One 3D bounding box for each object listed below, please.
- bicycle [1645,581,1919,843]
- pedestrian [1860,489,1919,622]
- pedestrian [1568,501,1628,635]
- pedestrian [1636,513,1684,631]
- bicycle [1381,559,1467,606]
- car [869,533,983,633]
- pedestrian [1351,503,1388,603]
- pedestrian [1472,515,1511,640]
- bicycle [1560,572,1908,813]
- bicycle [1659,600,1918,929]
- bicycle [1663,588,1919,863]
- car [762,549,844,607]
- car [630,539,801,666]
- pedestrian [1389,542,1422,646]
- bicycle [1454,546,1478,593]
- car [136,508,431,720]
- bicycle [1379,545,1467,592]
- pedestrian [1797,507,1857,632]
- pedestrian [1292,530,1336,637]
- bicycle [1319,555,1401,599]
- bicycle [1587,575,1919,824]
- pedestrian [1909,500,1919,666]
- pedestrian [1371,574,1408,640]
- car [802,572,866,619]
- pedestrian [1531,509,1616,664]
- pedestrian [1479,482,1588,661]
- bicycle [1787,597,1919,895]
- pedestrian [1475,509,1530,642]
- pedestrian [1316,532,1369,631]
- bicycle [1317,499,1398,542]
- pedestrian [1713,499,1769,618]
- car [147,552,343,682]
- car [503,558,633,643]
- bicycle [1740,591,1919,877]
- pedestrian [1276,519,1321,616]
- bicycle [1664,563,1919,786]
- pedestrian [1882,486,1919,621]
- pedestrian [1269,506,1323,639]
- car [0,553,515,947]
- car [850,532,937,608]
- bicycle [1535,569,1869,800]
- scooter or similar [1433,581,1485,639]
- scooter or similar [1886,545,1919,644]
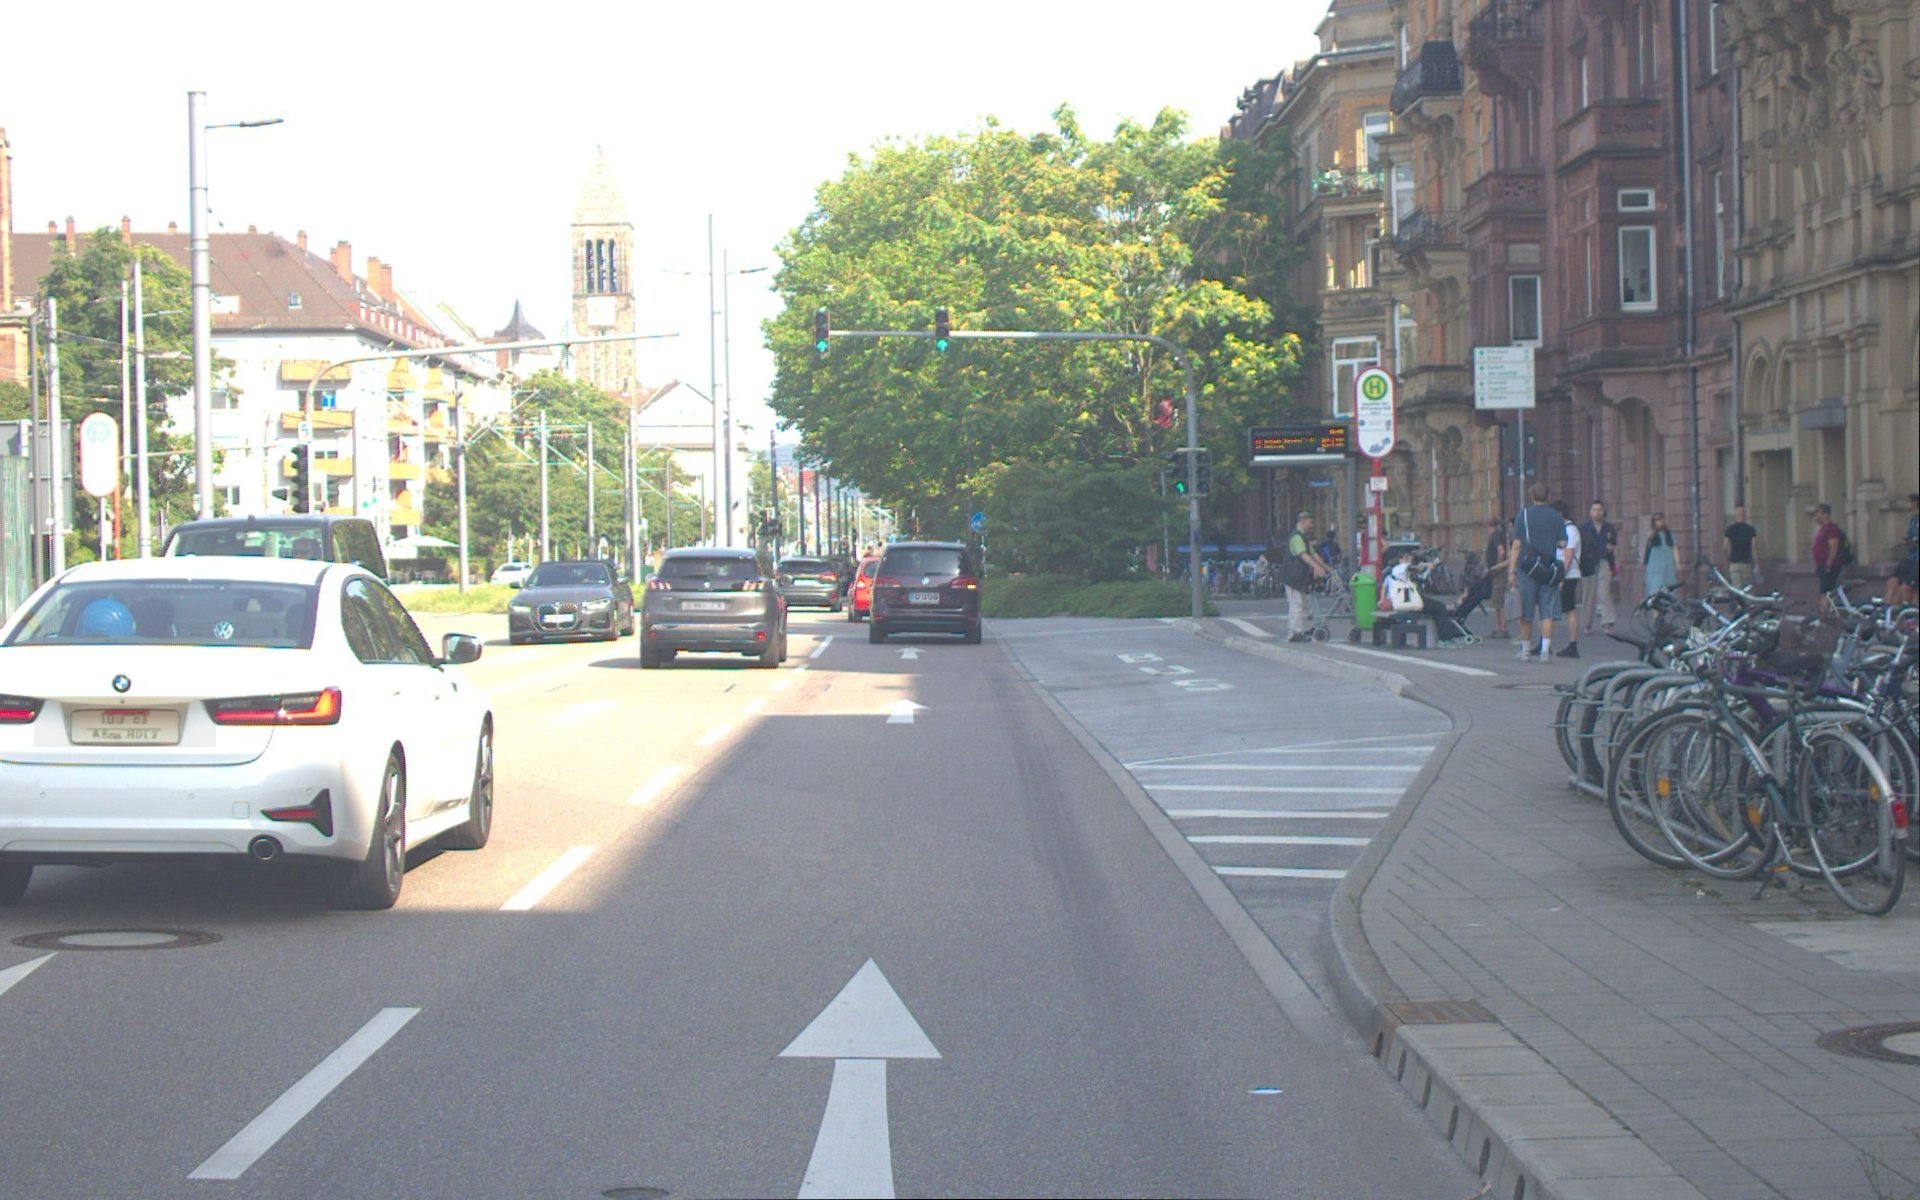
[{"bbox_3d":[3.994,0.498,15.700,1.632,1.144,0.385,-1,1,-5],"label":"bicycle"},{"bbox_3d":[11.955,-0.574,44.144,0.603,1.686,0.587,-1,1,-3],"label":"pedestrian"},{"bbox_3d":[8.757,-0.444,47.212,0.617,1.798,1.071,-1,1,1],"label":"pedestrian"},{"bbox_3d":[9.639,-0.392,47.345,0.486,1.605,0.813,-1,1,1],"label":"pedestrian"},{"bbox_3d":[10.838,-0.406,80.312,1.927,1.044,0.500,-1,1,-6],"label":"bicycle"},{"bbox_3d":[-0.551,-0.317,57.570,1.831,1.615,4.357,0,1,0],"label":"car"},{"bbox_3d":[7.033,-0.806,59.034,0.481,1.696,0.703,-1,1,-3],"label":"pedestrian"},{"bbox_3d":[7.437,-0.323,48.137,0.341,1.726,0.806,-1,1,-4],"label":"pedestrian"},{"bbox_3d":[3.859,0.453,17.165,1.632,1.144,0.385,-1,1,-5],"label":"bicycle"},{"bbox_3d":[3.134,0.588,13.130,0.407,1.144,1.656,-1,1,-6],"label":"bicycle"},{"bbox_3d":[3.925,0.528,14.953,1.632,1.144,0.385,-1,1,-5],"label":"bicycle"},{"bbox_3d":[-3.961,-0.580,87.305,1.864,1.419,4.357,0,1,0],"label":"car"},{"bbox_3d":[-3.257,-0.004,46.564,1.993,1.615,4.357,0,1,0],"label":"car"},{"bbox_3d":[5.451,-0.076,42.047,0.275,1.270,0.448,-1,1,-7],"label":"pedestrian"},{"bbox_3d":[11.469,-0.694,77.972,0.416,1.044,1.669,-1,1,5],"label":"bicycle"},{"bbox_3d":[-6.677,0.095,34.431,1.993,1.898,4.716,-2,1,-1],"label":"car"},{"bbox_3d":[10.699,-0.735,79.433,1.927,1.044,0.500,-1,1,-6],"label":"bicycle"},{"bbox_3d":[11.645,-0.415,46.189,0.603,1.649,0.587,-1,1,-3],"label":"pedestrian"},{"bbox_3d":[5.403,-0.257,52.512,0.528,1.606,0.703,-1,1,-3],"label":"pedestrian"},{"bbox_3d":[9.885,-0.566,84.956,1.927,1.044,0.527,-1,1,-6],"label":"bicycle"},{"bbox_3d":[3.888,0.470,16.582,1.632,1.144,0.385,-1,1,-5],"label":"bicycle"},{"bbox_3d":[9.650,-0.169,33.192,0.720,1.605,0.856,-1,1,1],"label":"pedestrian"},{"bbox_3d":[5.385,0.083,43.139,0.303,0.817,0.604,-1,1,-8],"label":"pedestrian"},{"bbox_3d":[-3.959,-0.156,108.524,1.864,1.419,4.357,0,1,0],"label":"car"},{"bbox_3d":[6.955,-0.163,38.997,0.749,1.723,0.801,-1,1,-3],"label":"pedestrian"},{"bbox_3d":[5.968,-0.300,35.806,0.925,1.825,0.801,-1,1,-3],"label":"pedestrian"},{"bbox_3d":[4.162,0.557,13.682,1.632,1.144,0.385,-1,1,-5],"label":"bicycle"},{"bbox_3d":[7.101,-0.328,45.022,0.565,1.723,0.617,-1,1,-3],"label":"pedestrian"},{"bbox_3d":[5.026,-0.246,45.176,0.565,1.273,0.597,-1,1,-4],"label":"pedestrian"},{"bbox_3d":[9.957,-1.990,86.130,1.927,1.044,0.527,-1,1,-6],"label":"bicycle"},{"bbox_3d":[11.352,-0.602,49.998,0.629,1.713,0.691,-1,1,0],"label":"pedestrian"},{"bbox_3d":[-9.713,0.193,47.012,1.713,1.606,4.505,-2,1,-1],"label":"car"},{"bbox_3d":[-6.744,-0.019,59.515,1.713,1.326,4.521,-2,1,-1],"label":"car"},{"bbox_3d":[4.114,0.536,14.308,1.632,1.144,0.385,-1,1,-5],"label":"bicycle"},{"bbox_3d":[5.855,-0.562,59.550,0.690,1.658,0.619,-1,1,0],"label":"pedestrian"},{"bbox_3d":[4.658,0.387,18.419,1.633,1.144,0.601,-1,1,2],"label":"bicycle"},{"bbox_3d":[12.050,-0.590,43.434,0.603,1.686,0.587,-1,1,-3],"label":"pedestrian"},{"bbox_3d":[4.408,-0.359,45.193,0.565,1.723,0.745,-1,1,-3],"label":"pedestrian"},{"bbox_3d":[-3.196,0.538,15.433,1.809,1.422,4.775,1,1,-1],"label":"car"},{"bbox_3d":[-1.438,-0.692,75.967,1.831,1.615,4.357,0,1,0],"label":"car"},{"bbox_3d":[3.849,0.429,17.865,1.632,1.144,0.385,-1,1,-5],"label":"bicycle"},{"bbox_3d":[6.518,0.129,44.939,0.565,0.739,0.514,-1,1,-3],"label":"scooter or similar"},{"bbox_3d":[11.488,-0.075,41.254,0.360,1.159,1.152,-1,1,-3],"label":"scooter or similar"}]
